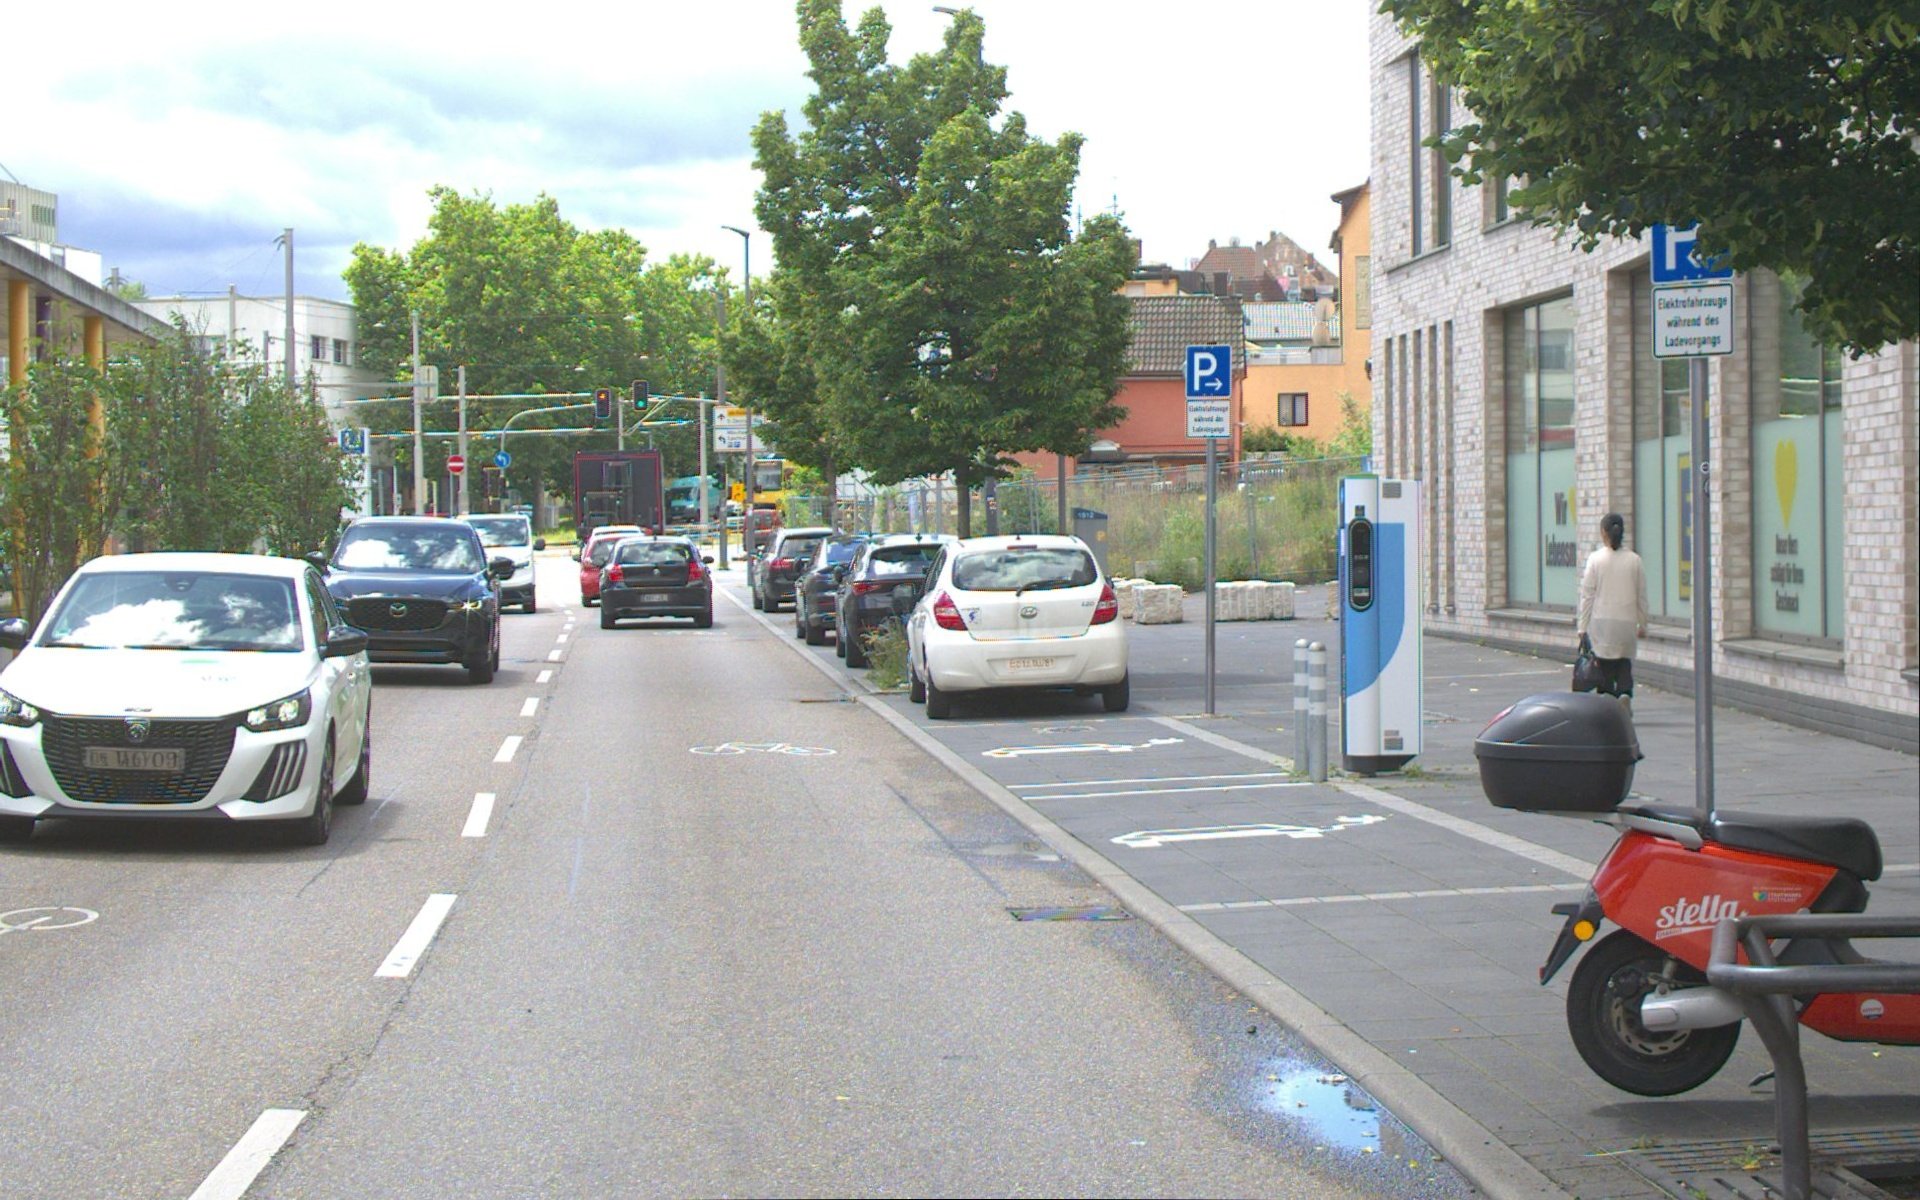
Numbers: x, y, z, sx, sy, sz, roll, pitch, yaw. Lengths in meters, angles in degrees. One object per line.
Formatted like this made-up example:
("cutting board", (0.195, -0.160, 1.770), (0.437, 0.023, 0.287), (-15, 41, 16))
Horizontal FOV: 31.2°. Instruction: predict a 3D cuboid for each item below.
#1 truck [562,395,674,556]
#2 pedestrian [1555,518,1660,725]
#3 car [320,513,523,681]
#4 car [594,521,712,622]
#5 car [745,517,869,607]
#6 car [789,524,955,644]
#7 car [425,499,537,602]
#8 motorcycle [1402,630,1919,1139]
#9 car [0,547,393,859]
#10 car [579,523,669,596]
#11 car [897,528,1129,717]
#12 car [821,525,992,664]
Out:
("truck", (-10.322, -3.671, 104.298), (3.202, 4.520, 9.030), (0, 0, -5))
("pedestrian", (4.710, 0.147, 25.041), (0.607, 1.467, 0.791), (-2, 1, 3))
("car", (-5.506, -0.068, 35.580), (1.919, 1.599, 4.628), (1, 1, -7))
("car", (-4.821, -0.468, 53.611), (1.726, 1.451, 3.810), (-1, 2, -6))
("car", (-2.723, -0.695, 60.434), (1.781, 1.447, 4.477), (-2, 2, -7))
("car", (-1.228, -0.252, 45.792), (1.864, 1.446, 4.644), (-2, 1, -5))
("car", (-9.387, -0.969, 67.045), (2.003, 1.910, 5.066), (1, 1, -9))
("motorcycle", (2.248, 0.727, 9.035), (2.051, 1.261, 0.672), (-2, 0, 13))
("car", (-4.127, 0.466, 18.379), (1.811, 1.464, 3.908), (1, 1, -4))
("car", (-6.920, -0.850, 70.557), (1.711, 1.388, 3.810), (-1, 2, -7))
("car", (0.401, 0.141, 29.964), (1.692, 1.478, 3.798), (-2, 1, -3))
("car", (-0.661, -0.105, 39.272), (1.692, 1.456, 4.147), (-2, 1, -4))
